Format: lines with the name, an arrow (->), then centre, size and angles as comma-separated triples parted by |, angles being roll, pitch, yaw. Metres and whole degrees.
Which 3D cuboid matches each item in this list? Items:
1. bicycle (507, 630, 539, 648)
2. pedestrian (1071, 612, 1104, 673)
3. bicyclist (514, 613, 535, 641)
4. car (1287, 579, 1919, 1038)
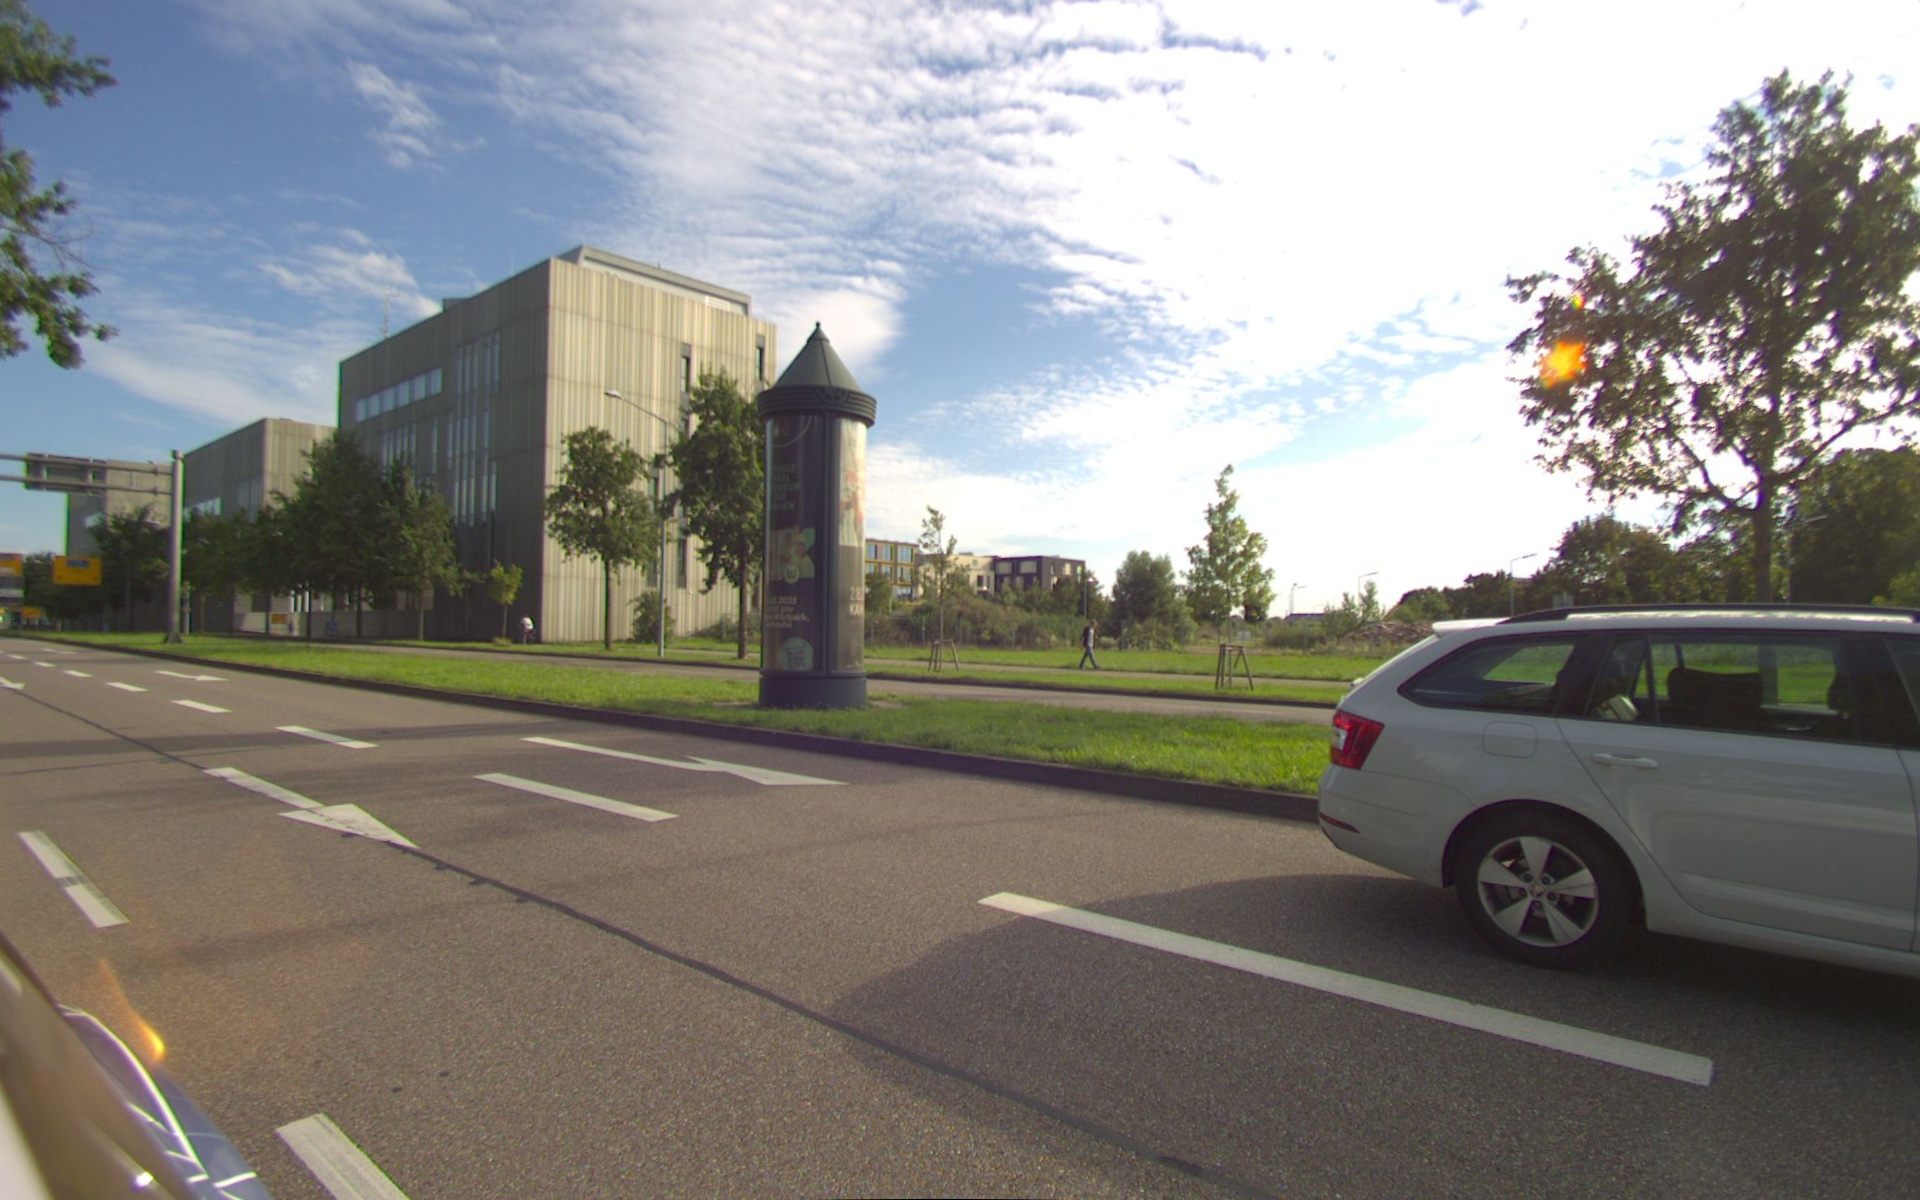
bicycle -> -24.698, 2.210, 57.170 | 1.910, 0.989, 0.885 | -1, -3, 41
pedestrian -> 4.290, 1.420, 34.022 | 0.867, 2.029, 0.667 | -1, -3, 41
bicyclist -> -24.617, 1.520, 57.151 | 0.989, 1.537, 0.698 | -1, -3, 41
car -> 3.765, 0.692, 3.913 | 4.479, 1.510, 1.681 | -1, -1, 41
